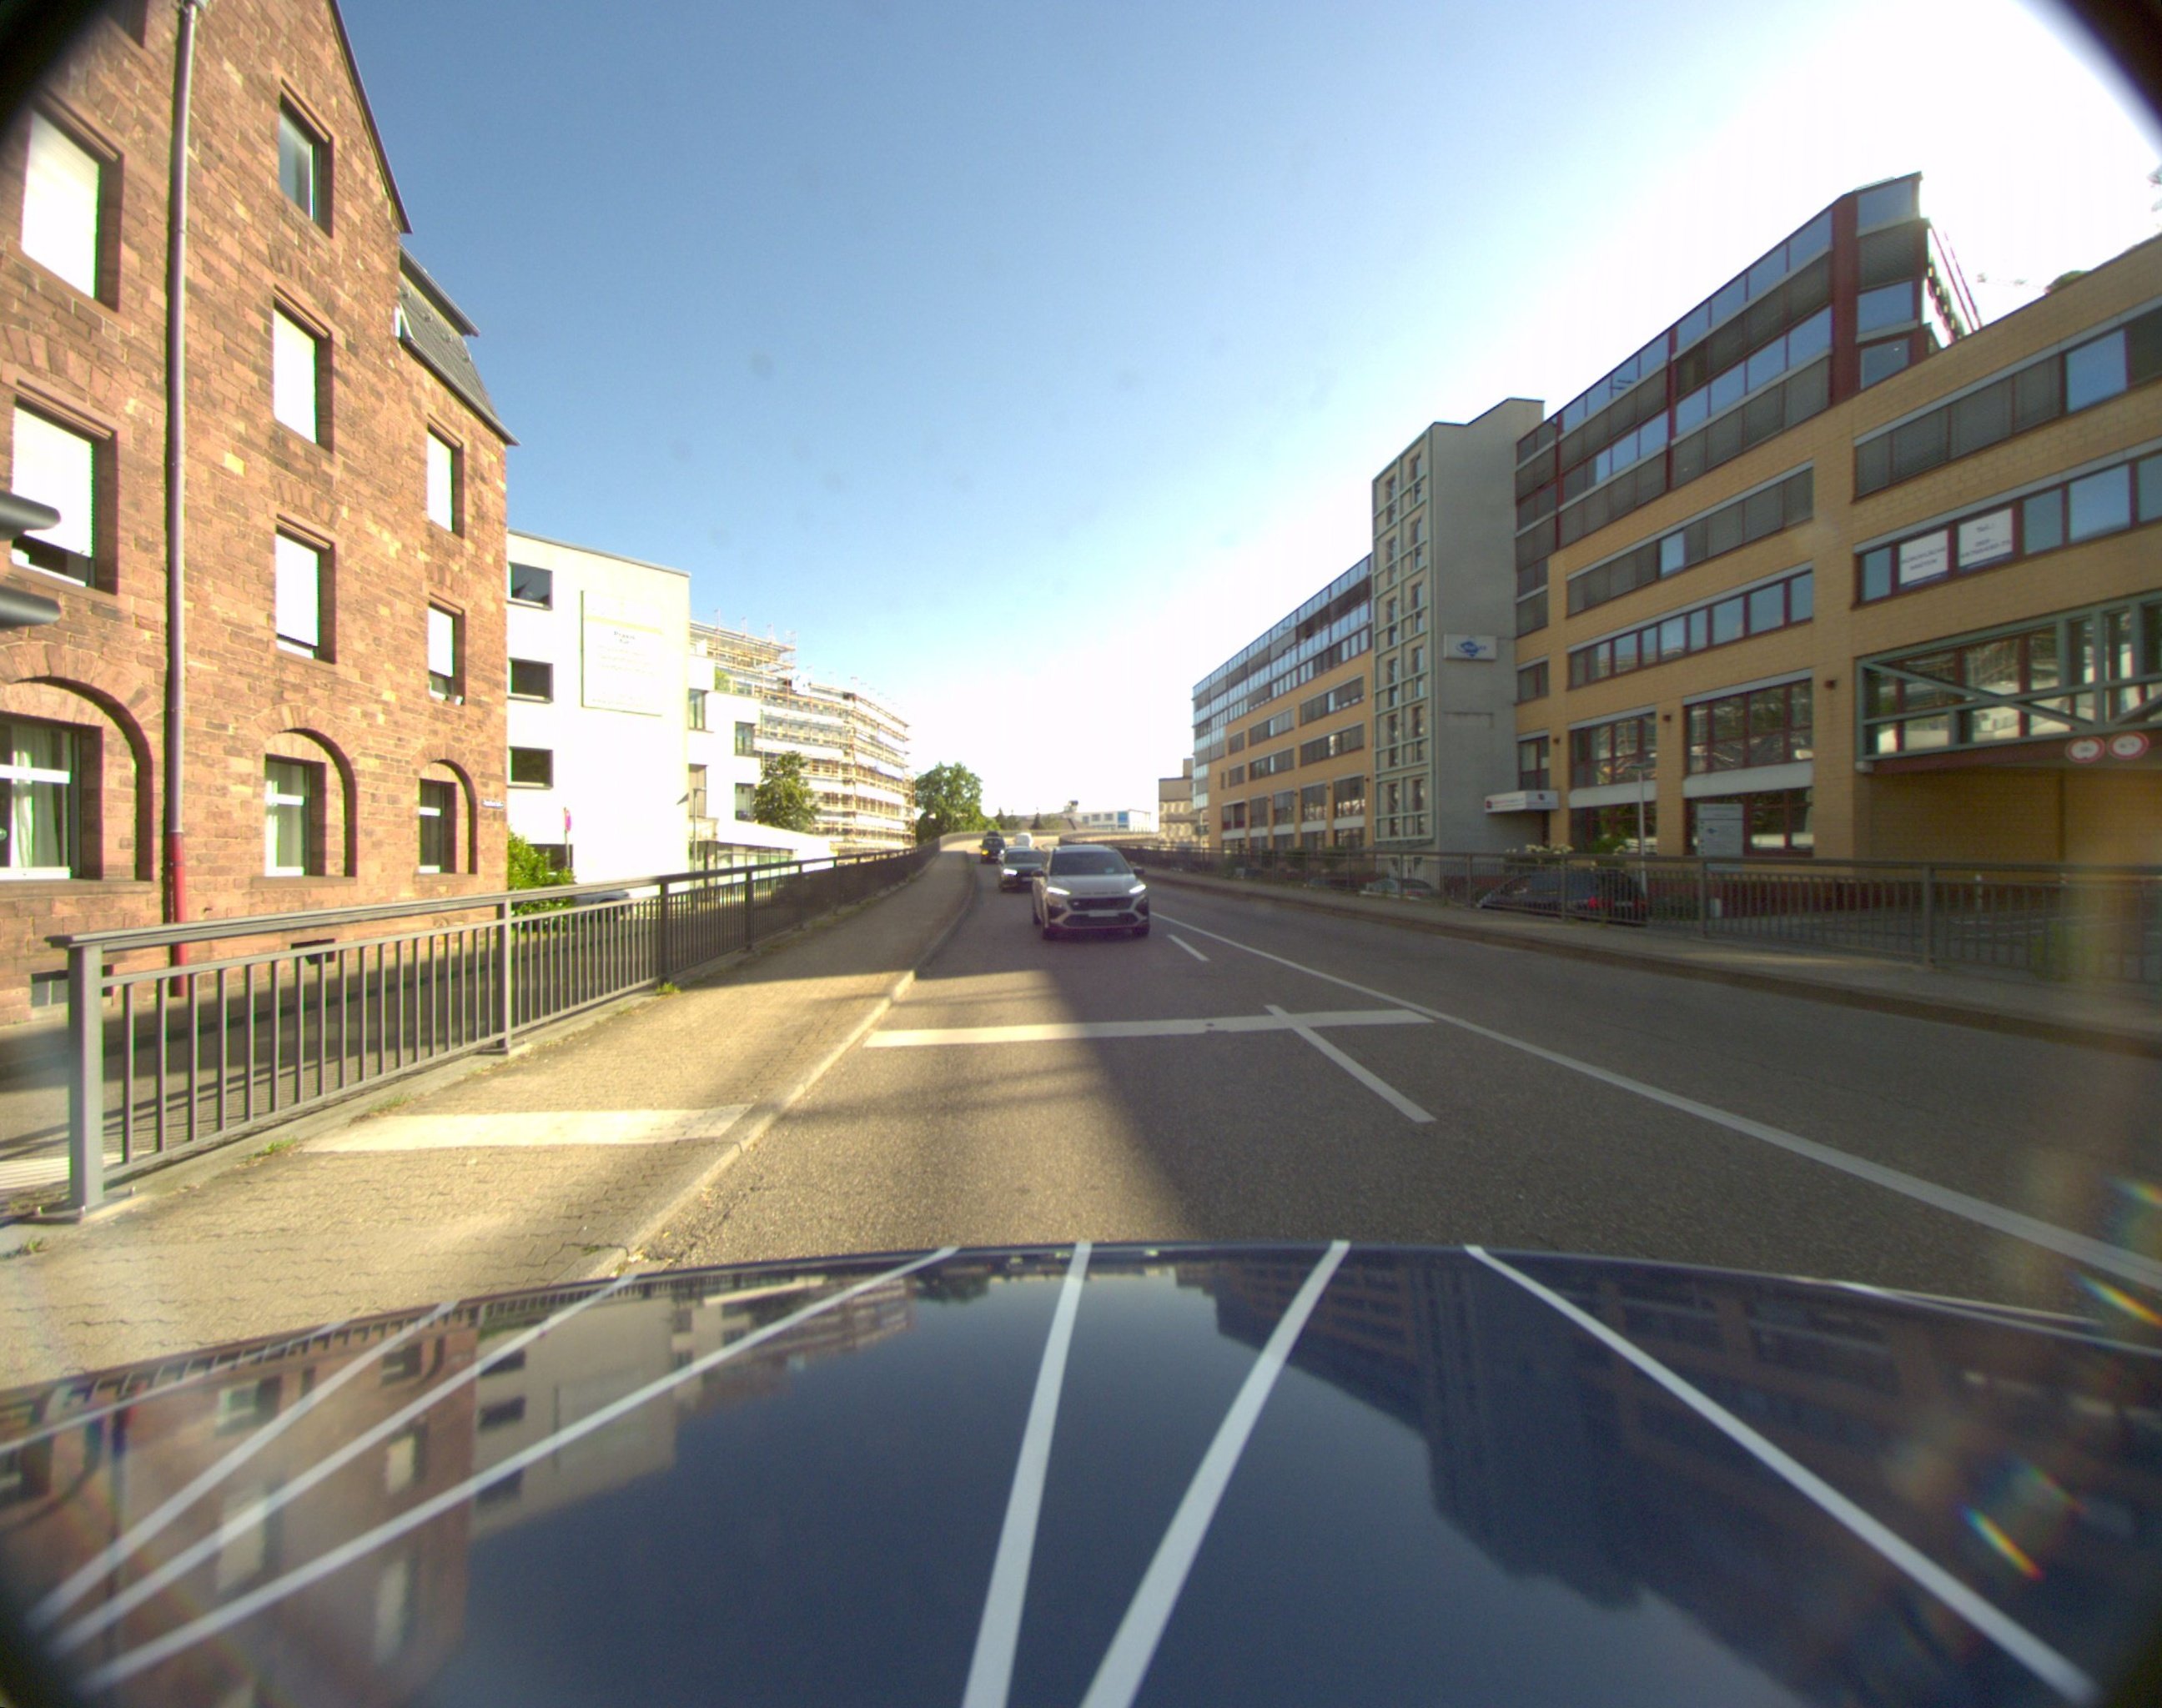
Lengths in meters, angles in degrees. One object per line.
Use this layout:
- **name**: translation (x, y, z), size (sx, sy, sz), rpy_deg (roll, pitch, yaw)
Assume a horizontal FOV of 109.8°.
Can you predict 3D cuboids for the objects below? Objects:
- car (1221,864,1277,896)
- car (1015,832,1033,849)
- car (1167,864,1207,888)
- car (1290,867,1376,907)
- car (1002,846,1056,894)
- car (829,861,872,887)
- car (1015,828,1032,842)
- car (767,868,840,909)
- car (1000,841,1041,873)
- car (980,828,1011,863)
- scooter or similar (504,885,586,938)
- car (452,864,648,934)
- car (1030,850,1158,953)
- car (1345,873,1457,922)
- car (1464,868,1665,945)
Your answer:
- **car**: translation (9.674, 1.449, 44.017), size (2.000, 1.714, 3.998), rpy_deg (0, 0, -6)
- **car**: translation (-6.218, -1.467, 82.895), size (1.815, 1.791, 5.118), rpy_deg (0, 0, -6)
- **car**: translation (7.735, 1.568, 55.847), size (2.000, 1.652, 3.998), rpy_deg (0, 0, -6)
- **car**: translation (11.100, 1.414, 33.785), size (1.826, 1.594, 4.353), rpy_deg (0, 0, -9)
- **car**: translation (-1.917, 0.512, 27.060), size (1.722, 1.483, 4.165), rpy_deg (-1, 2, -6)
- **car**: translation (-14.371, 1.199, 47.571), size (1.850, 1.526, 3.998), rpy_deg (0, 0, -6)
- **car**: translation (-7.315, -2.437, 97.704), size (1.825, 1.594, 3.999), rpy_deg (3, 0, 0)
- **car**: translation (-12.214, 1.469, 33.767), size (1.850, 1.422, 4.679), rpy_deg (-1, 2, -5)
- **car**: translation (-3.232, 0.115, 40.023), size (1.850, 1.527, 4.503), rpy_deg (-1, 2, -8)
- **car**: translation (-6.087, -0.656, 53.743), size (1.911, 2.202, 4.592), rpy_deg (-1, 3, -10)
- **scooter or similar**: translation (-13.777, 1.462, 19.576), size (1.463, 1.212, 0.784), rpy_deg (-3, 1, -13)
- **car**: translation (-16.388, 1.285, 23.654), size (1.823, 1.757, 4.658), rpy_deg (1, 2, 44)
- **car**: translation (0.072, 0.736, 14.093), size (1.850, 1.561, 4.218), rpy_deg (-1, 1, -6)
- **car**: translation (11.792, 1.559, 28.372), size (1.826, 1.594, 4.353), rpy_deg (0, 0, -9)
- **car**: translation (12.932, 1.309, 20.760), size (1.957, 1.747, 4.684), rpy_deg (-1, 0, -10)
